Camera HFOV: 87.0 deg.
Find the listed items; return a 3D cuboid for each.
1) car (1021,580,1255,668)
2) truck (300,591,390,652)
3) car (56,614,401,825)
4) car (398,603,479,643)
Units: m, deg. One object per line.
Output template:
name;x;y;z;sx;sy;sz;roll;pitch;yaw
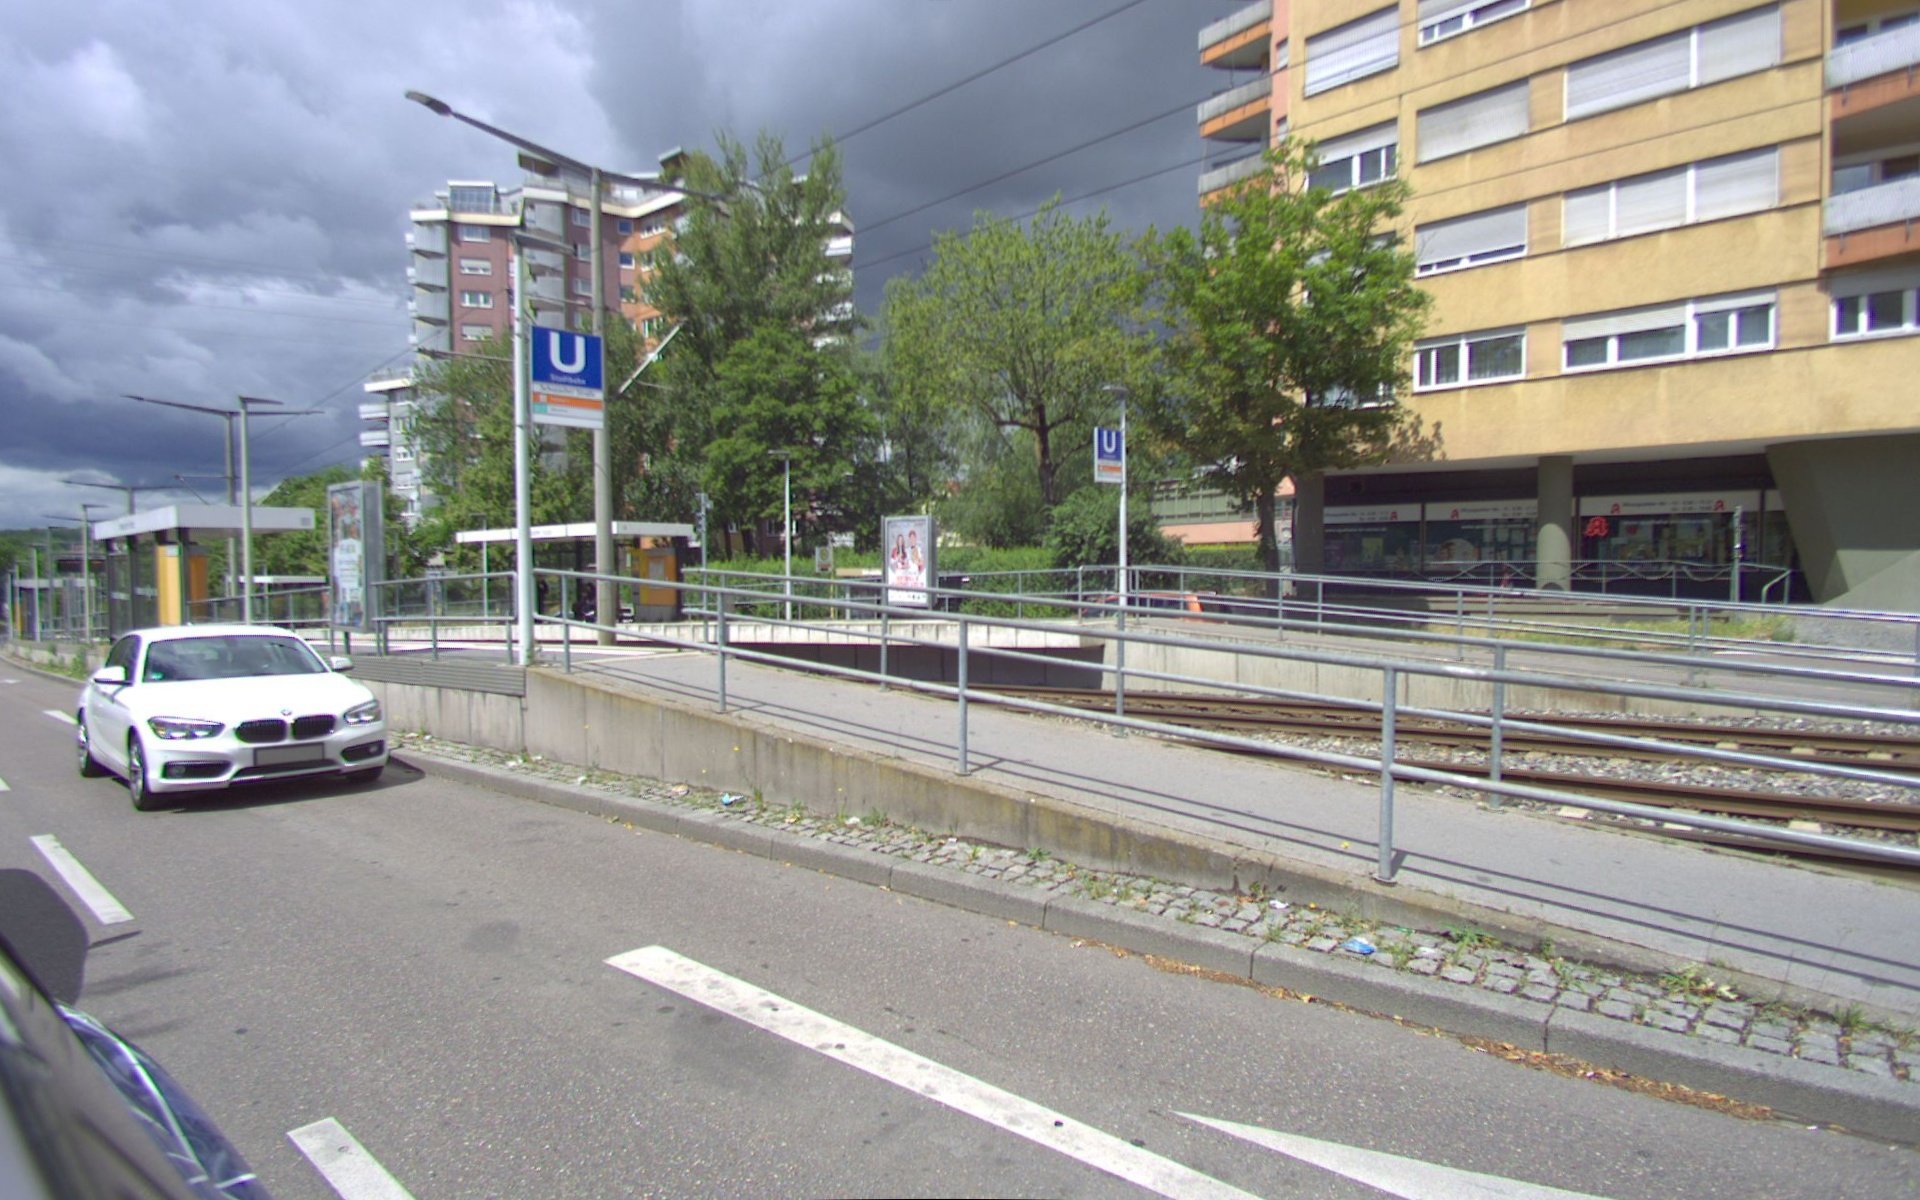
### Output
car;3.648;0.505;21.181;4.458;1.647;1.973;-1;-2;41
truck;-35.159;1.248;57.729;7.260;3.247;2.389;-2;-1;42
car;-6.769;0.888;9.209;3.998;1.472;1.710;-1;0;42
car;-24.973;1.090;48.397;4.509;1.815;1.972;-1;-2;42
